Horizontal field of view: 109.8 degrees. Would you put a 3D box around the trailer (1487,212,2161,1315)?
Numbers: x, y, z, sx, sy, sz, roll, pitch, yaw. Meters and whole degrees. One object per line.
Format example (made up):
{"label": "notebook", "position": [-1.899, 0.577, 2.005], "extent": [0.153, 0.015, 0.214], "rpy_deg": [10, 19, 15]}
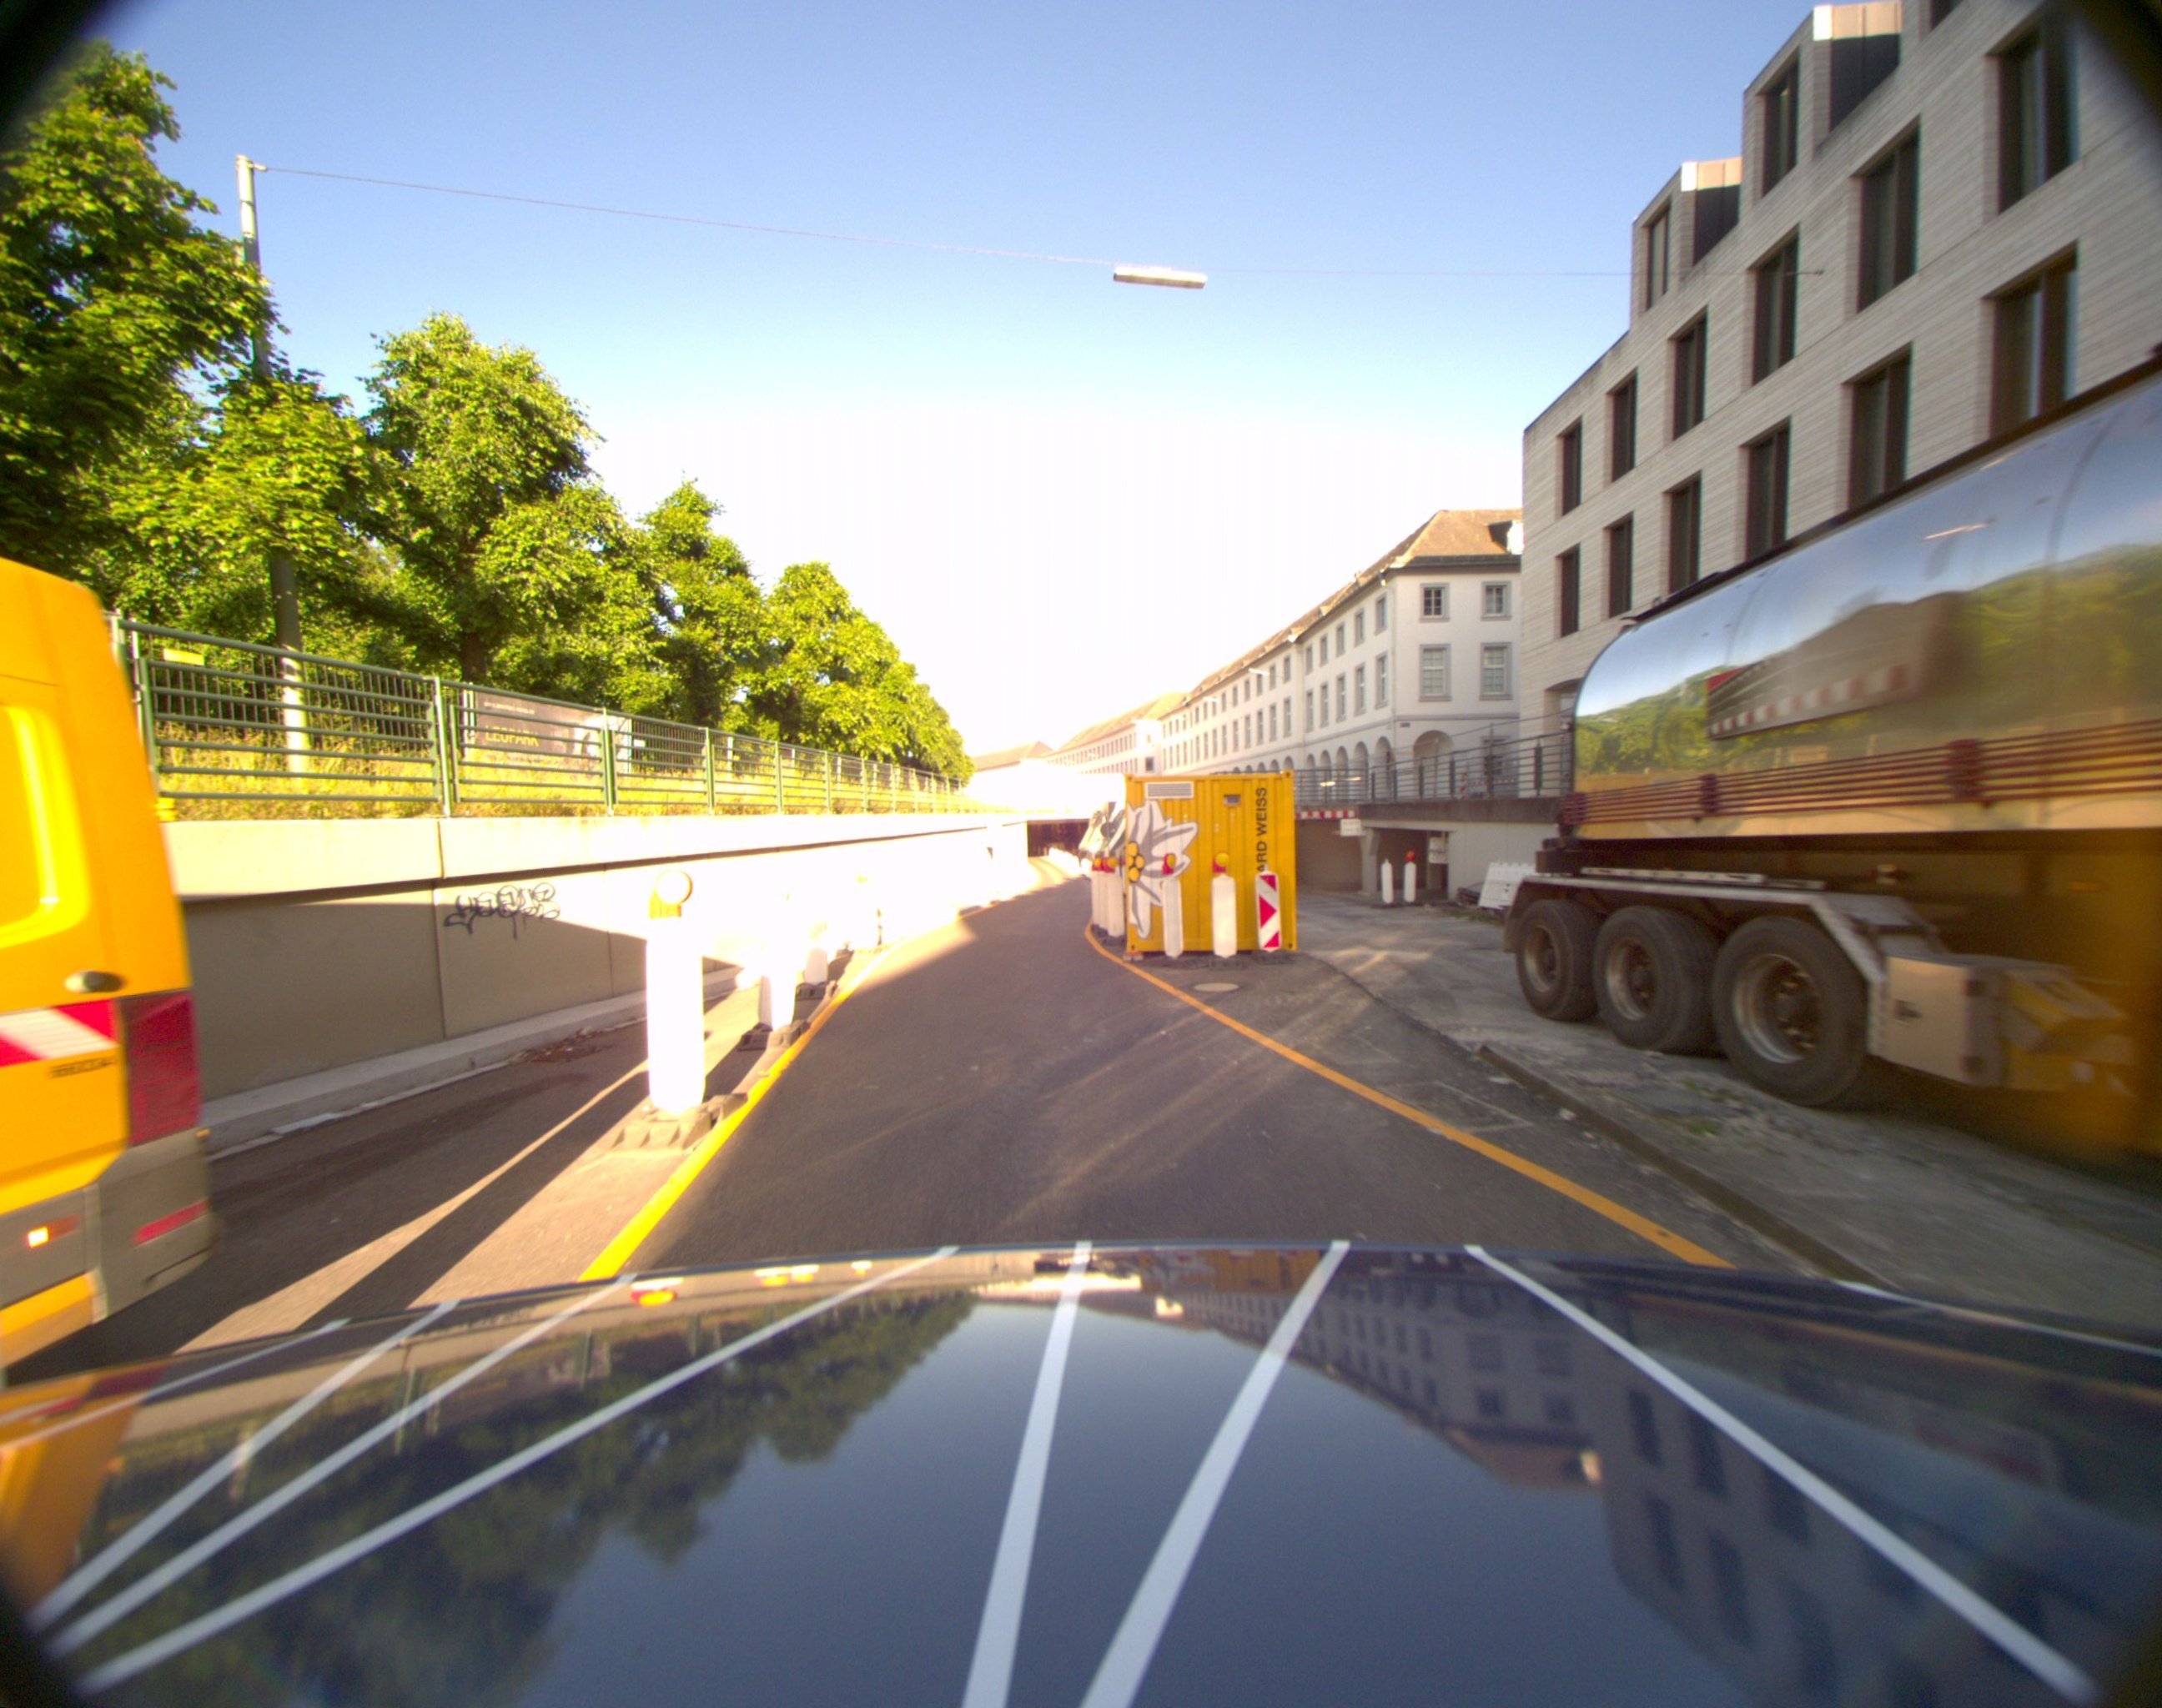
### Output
{"label": "trailer", "position": [4.951, -0.295, 3.038], "extent": [2.647, 3.648, 8.752], "rpy_deg": [3, 1, 6]}
